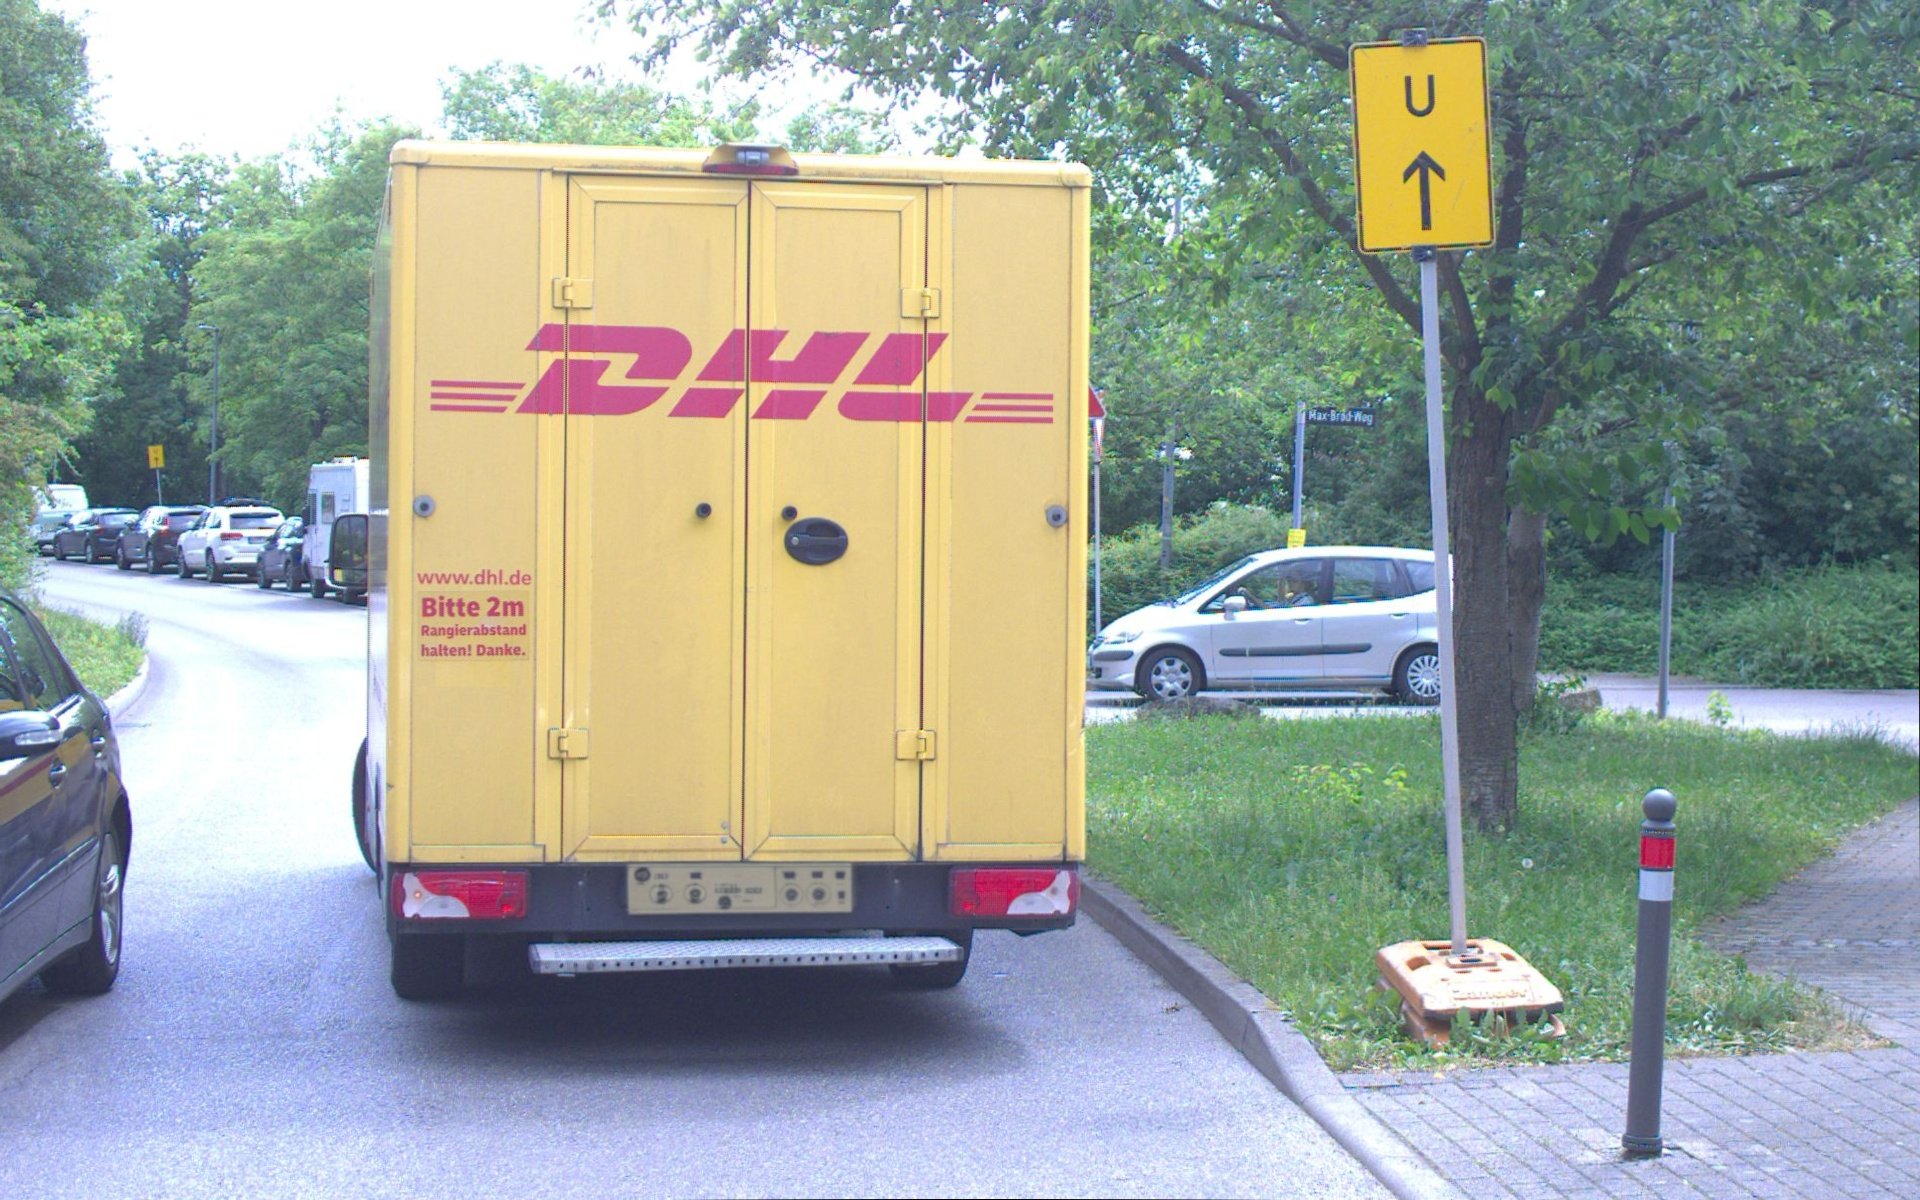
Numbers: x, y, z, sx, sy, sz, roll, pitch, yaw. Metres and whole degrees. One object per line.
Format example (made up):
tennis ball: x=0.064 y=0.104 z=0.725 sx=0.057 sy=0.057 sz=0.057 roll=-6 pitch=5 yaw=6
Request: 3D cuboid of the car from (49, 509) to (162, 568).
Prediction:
car: x=-22.817 y=-1.657 z=91.748 sx=1.798 sy=1.459 sz=4.000 roll=-1 pitch=3 yaw=-32

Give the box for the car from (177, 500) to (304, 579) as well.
car: x=-16.866 y=-1.436 z=80.462 sx=1.871 sy=1.683 sz=4.580 roll=0 pitch=2 yaw=-25

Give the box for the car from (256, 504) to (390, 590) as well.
car: x=-13.761 y=-1.164 z=74.114 sx=1.711 sy=1.585 sz=4.001 roll=-8 pitch=5 yaw=-25

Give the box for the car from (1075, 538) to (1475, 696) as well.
car: x=3.006 y=0.154 z=33.341 sx=3.640 sy=1.451 sz=1.847 roll=1 pitch=0 yaw=-2

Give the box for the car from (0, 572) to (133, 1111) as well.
car: x=-3.549 y=0.646 z=9.977 sx=1.751 sy=1.414 sz=4.369 roll=0 pitch=1 yaw=-7

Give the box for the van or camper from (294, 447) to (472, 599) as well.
van or camper: x=-11.544 y=-1.558 z=68.394 sx=2.332 sy=2.859 sz=6.152 roll=0 pitch=2 yaw=-20

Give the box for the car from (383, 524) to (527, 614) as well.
car: x=-9.022 y=-0.557 z=61.236 sx=1.728 sy=1.514 sz=3.890 roll=-1 pitch=1 yaw=-20

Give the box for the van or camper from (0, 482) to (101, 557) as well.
van or camper: x=-26.162 y=-2.312 z=96.939 sx=1.994 sy=1.913 sz=5.265 roll=-3 pitch=4 yaw=-35

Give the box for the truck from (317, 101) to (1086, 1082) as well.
truck: x=-1.224 y=-0.079 z=13.225 sx=2.225 sy=2.799 sz=6.573 roll=0 pitch=1 yaw=-9

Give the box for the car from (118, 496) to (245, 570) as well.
car: x=-19.456 y=-1.693 z=85.814 sx=1.993 sy=1.620 sz=4.279 roll=-3 pitch=4 yaw=-27
